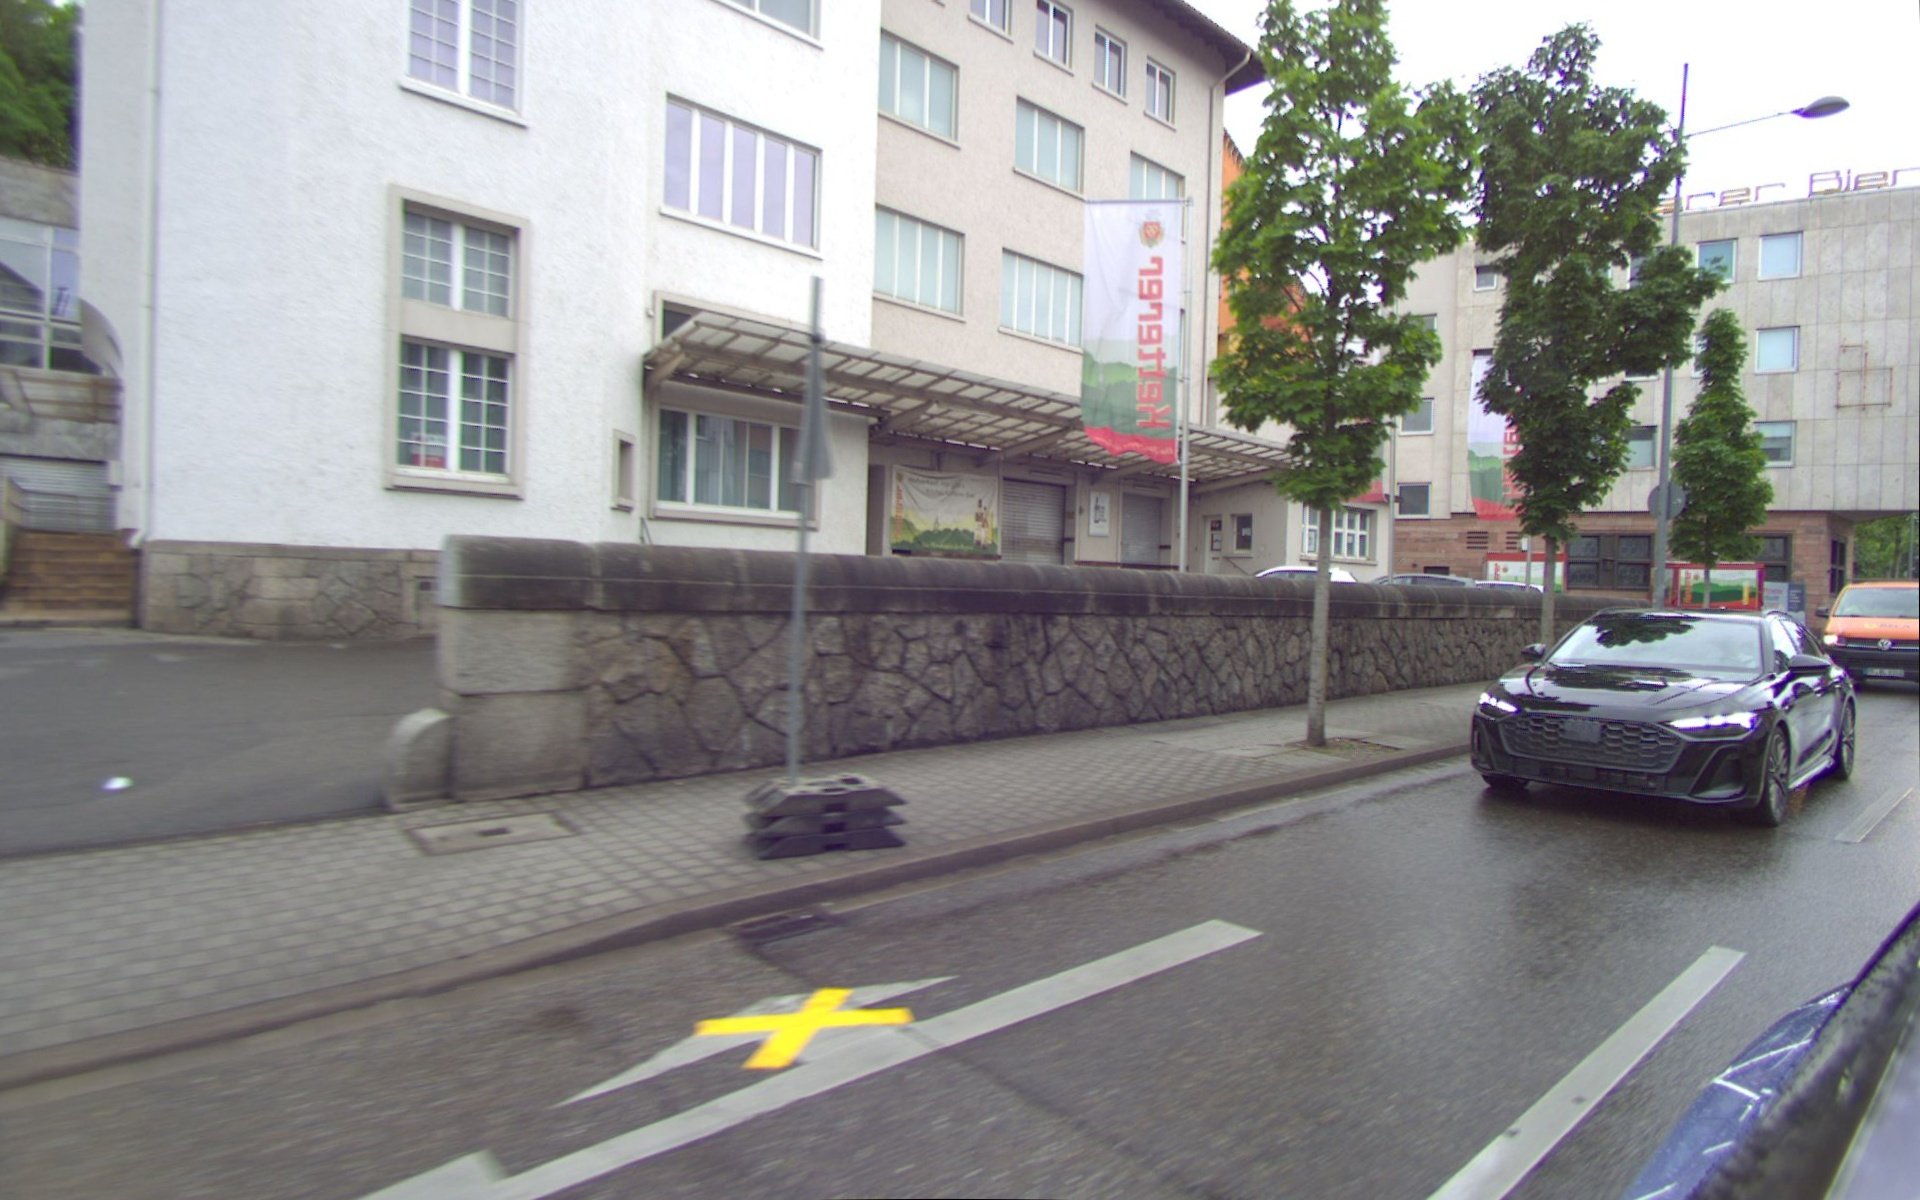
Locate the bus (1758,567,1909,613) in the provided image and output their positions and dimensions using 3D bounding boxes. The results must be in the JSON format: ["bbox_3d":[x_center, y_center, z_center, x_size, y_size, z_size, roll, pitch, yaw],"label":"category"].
[{"bbox_3d":[73.627,-0.927,85.671,2.648,3.255,9.684,3,2,-15],"label":"bus"}]

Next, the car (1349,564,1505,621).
[{"bbox_3d":[13.677,-0.220,29.827,3.780,1.418,1.639,4,1,11],"label":"car"}]

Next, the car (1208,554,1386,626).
[{"bbox_3d":[8.378,-0.242,25.481,3.915,1.588,1.922,2,-1,8],"label":"car"}]

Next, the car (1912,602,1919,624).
[{"bbox_3d":[106.801,1.560,110.414,4.906,2.348,1.978,3,1,-17],"label":"car"}]

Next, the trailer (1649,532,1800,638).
[{"bbox_3d":[25.792,-0.586,34.448,2.607,3.215,5.673,3,3,23],"label":"trailer"}]

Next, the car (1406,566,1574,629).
[{"bbox_3d":[16.603,-0.112,31.917,4.209,1.669,1.862,4,1,11],"label":"car"}]

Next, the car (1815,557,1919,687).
[{"bbox_3d":[17.565,0.370,18.577,5.446,2.115,2.105,0,1,-42],"label":"car"}]

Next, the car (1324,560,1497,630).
[{"bbox_3d":[12.154,-0.157,27.545,3.942,1.602,1.764,4,1,14],"label":"car"}]

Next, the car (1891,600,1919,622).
[{"bbox_3d":[66.990,0.817,69.930,1.764,1.390,4.092,3,2,6],"label":"car"}]

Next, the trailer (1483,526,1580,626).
[{"bbox_3d":[20.812,-0.886,37.162,2.724,3.348,6.016,2,2,27],"label":"trailer"}]

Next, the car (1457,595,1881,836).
[{"bbox_3d":[5.916,0.690,8.197,4.552,1.421,1.792,0,0,-41],"label":"car"}]
